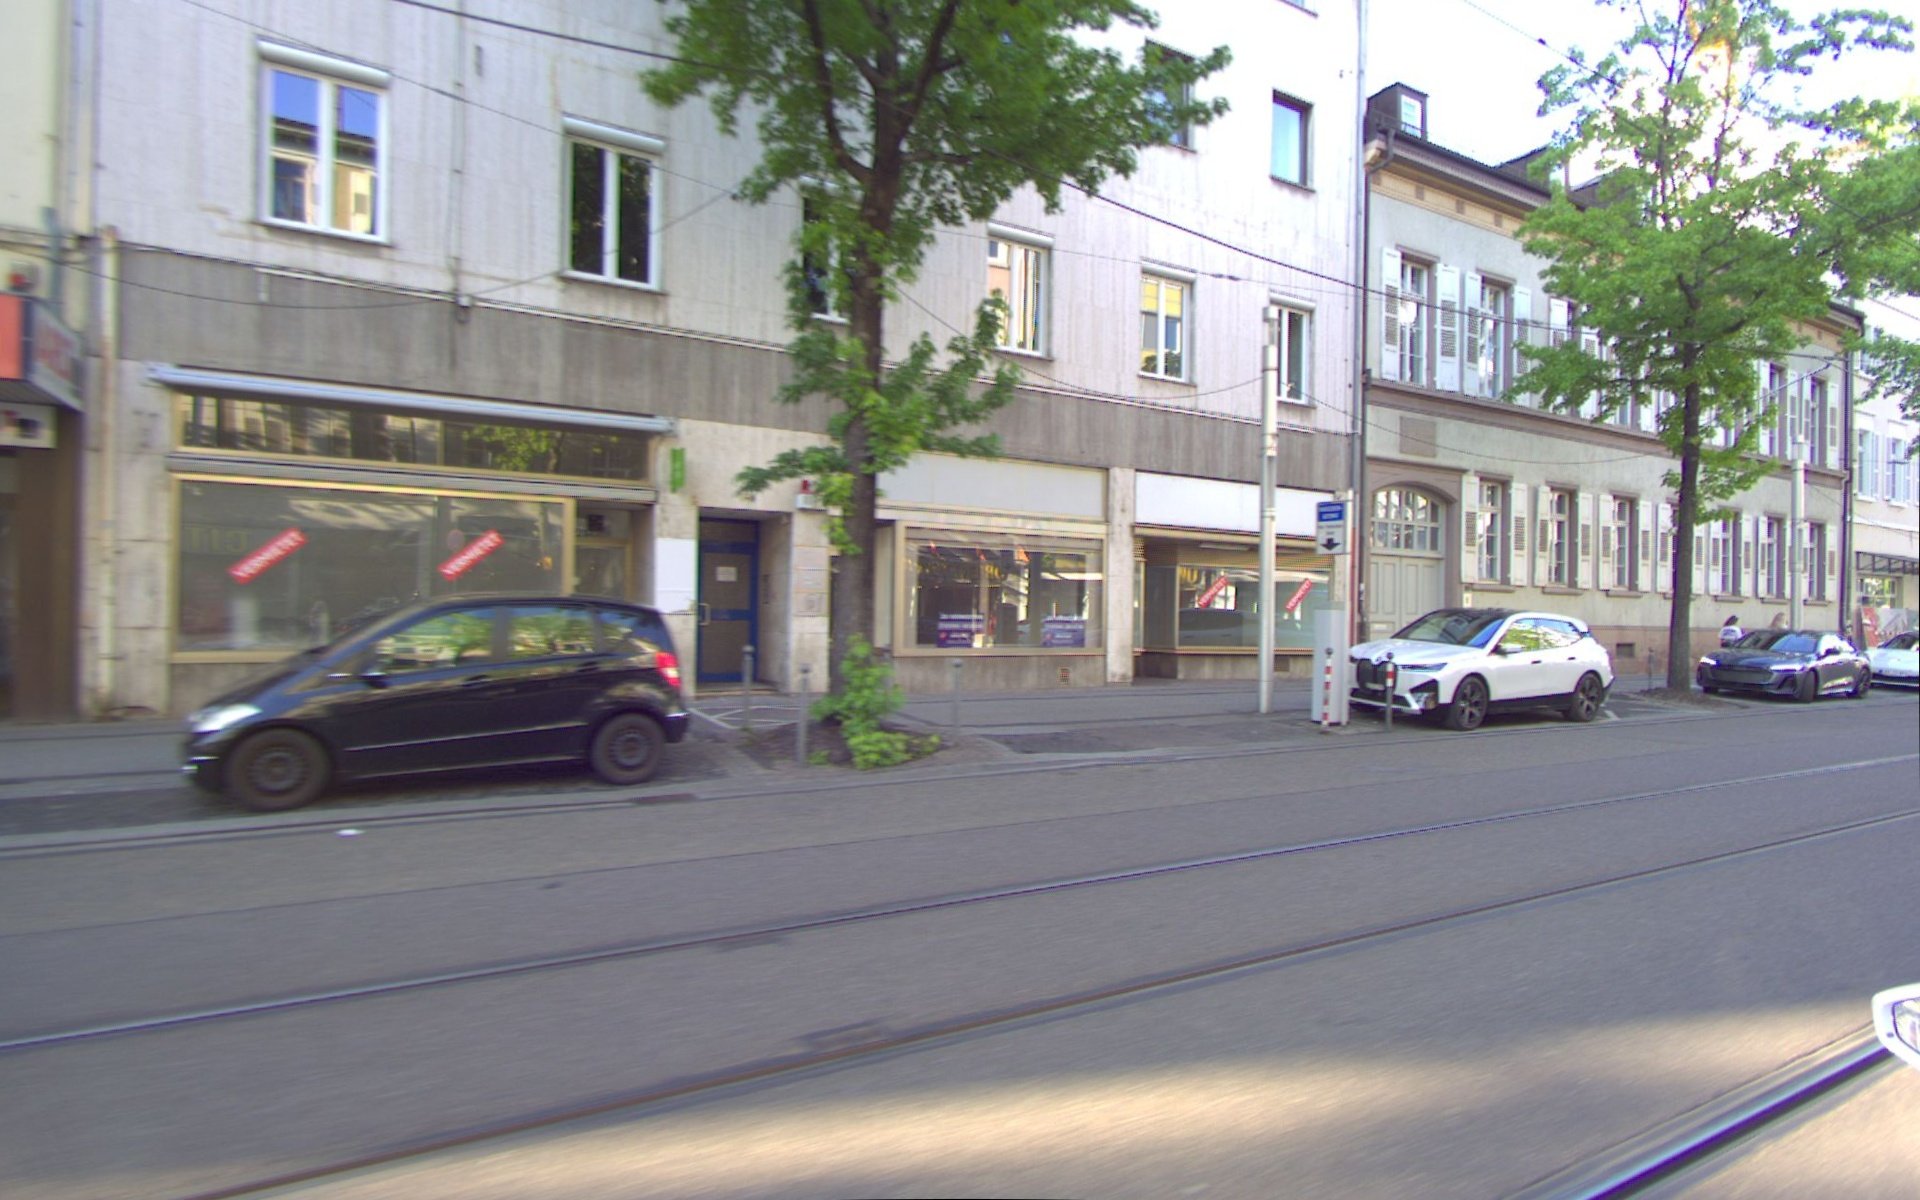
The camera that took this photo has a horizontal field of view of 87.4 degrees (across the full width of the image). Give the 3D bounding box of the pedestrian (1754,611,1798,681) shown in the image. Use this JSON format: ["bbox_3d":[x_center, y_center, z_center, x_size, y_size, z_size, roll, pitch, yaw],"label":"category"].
[{"bbox_3d":[20.798,1.170,25.601,0.648,1.743,0.683,1,0,-29],"label":"pedestrian"}]

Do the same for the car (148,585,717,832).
[{"bbox_3d":[-4.363,0.774,8.753,3.955,1.662,1.951,1,1,-32],"label":"car"}]

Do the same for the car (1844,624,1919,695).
[{"bbox_3d":[24.574,1.469,25.311,4.848,1.661,1.938,1,-1,-29],"label":"car"}]

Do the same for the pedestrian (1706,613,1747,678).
[{"bbox_3d":[20.435,1.215,26.770,0.640,1.702,0.671,1,-1,-30],"label":"pedestrian"}]

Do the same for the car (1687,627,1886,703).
[{"bbox_3d":[17.721,1.326,21.471,4.794,1.431,1.951,2,-1,-33],"label":"car"}]

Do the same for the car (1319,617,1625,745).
[{"bbox_3d":[8.086,1.173,15.776,4.754,1.662,1.953,1,1,-30],"label":"car"}]
